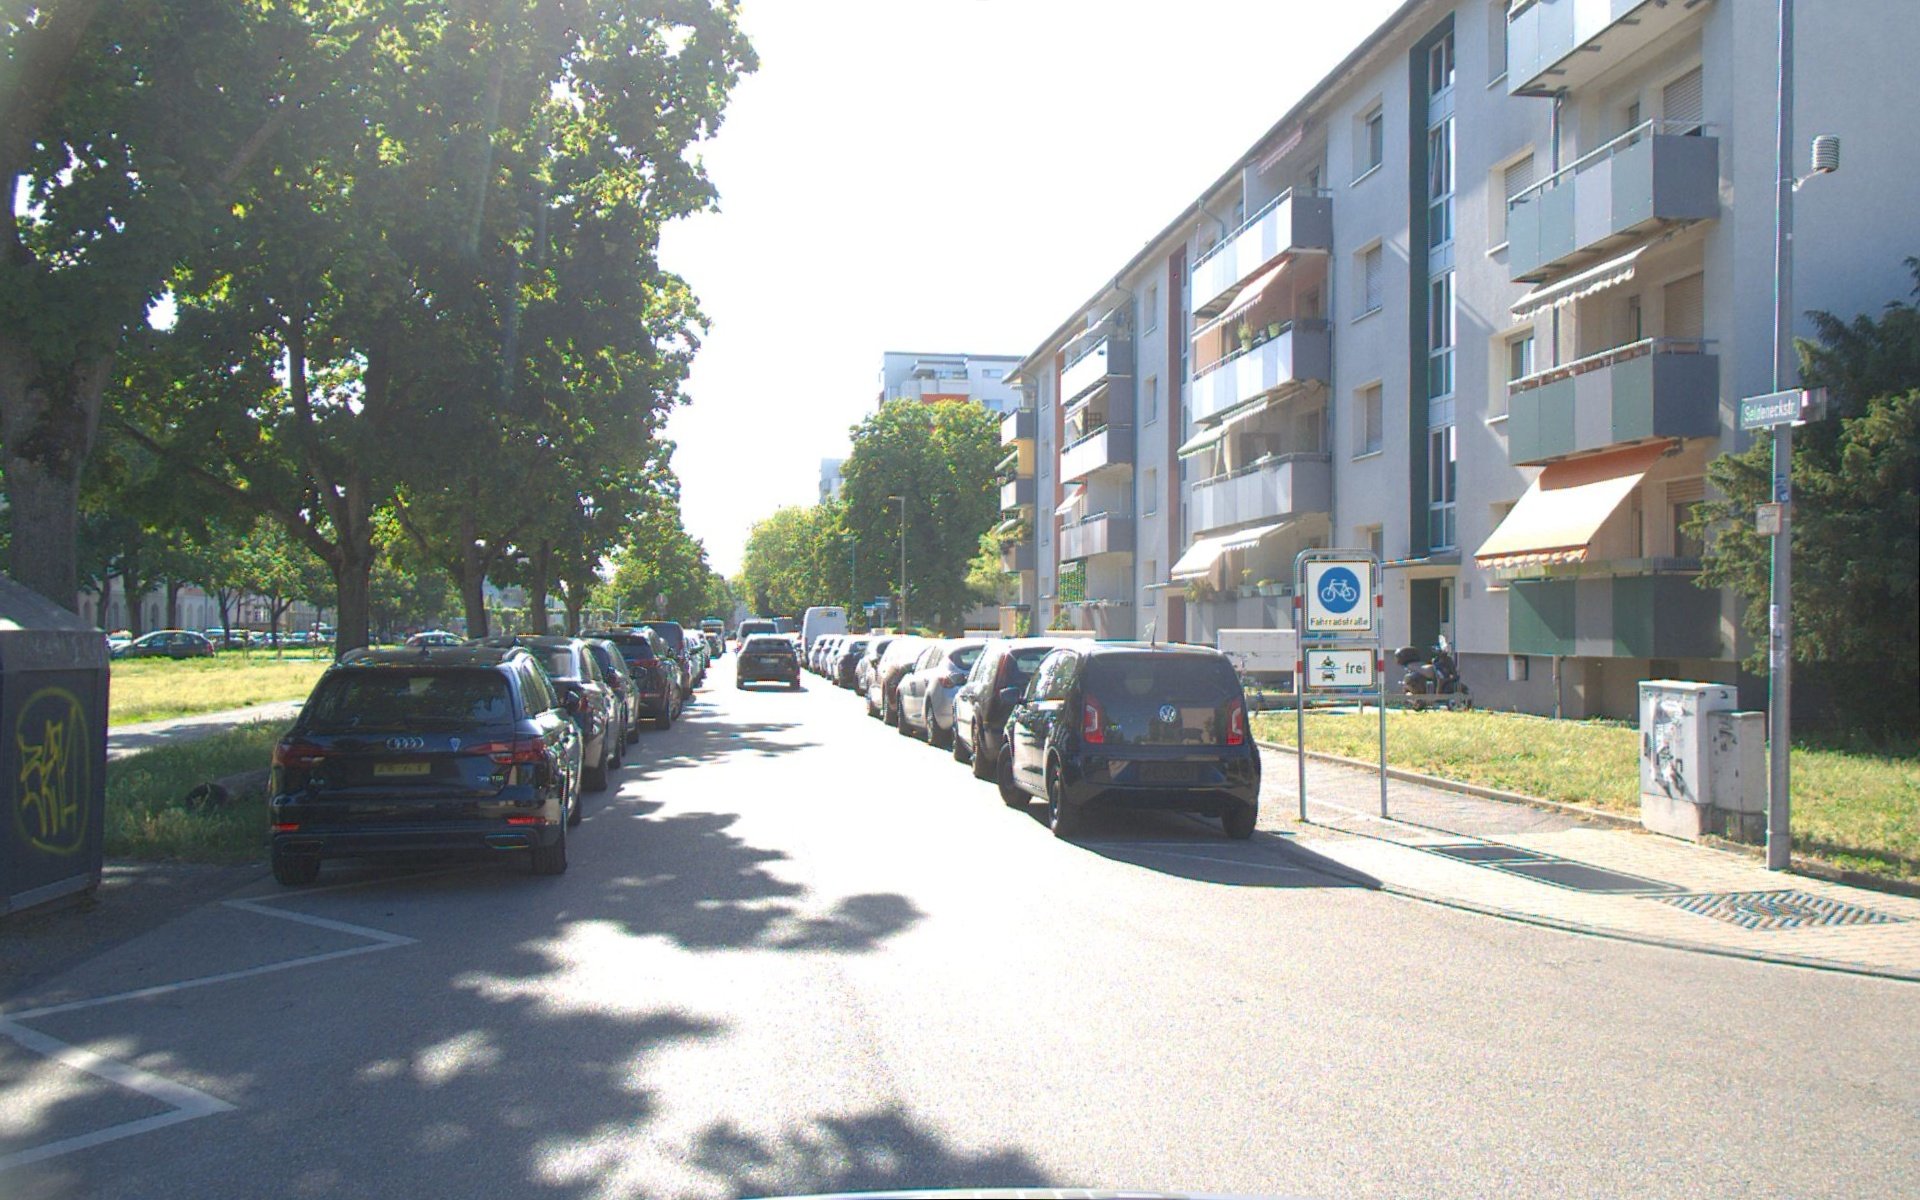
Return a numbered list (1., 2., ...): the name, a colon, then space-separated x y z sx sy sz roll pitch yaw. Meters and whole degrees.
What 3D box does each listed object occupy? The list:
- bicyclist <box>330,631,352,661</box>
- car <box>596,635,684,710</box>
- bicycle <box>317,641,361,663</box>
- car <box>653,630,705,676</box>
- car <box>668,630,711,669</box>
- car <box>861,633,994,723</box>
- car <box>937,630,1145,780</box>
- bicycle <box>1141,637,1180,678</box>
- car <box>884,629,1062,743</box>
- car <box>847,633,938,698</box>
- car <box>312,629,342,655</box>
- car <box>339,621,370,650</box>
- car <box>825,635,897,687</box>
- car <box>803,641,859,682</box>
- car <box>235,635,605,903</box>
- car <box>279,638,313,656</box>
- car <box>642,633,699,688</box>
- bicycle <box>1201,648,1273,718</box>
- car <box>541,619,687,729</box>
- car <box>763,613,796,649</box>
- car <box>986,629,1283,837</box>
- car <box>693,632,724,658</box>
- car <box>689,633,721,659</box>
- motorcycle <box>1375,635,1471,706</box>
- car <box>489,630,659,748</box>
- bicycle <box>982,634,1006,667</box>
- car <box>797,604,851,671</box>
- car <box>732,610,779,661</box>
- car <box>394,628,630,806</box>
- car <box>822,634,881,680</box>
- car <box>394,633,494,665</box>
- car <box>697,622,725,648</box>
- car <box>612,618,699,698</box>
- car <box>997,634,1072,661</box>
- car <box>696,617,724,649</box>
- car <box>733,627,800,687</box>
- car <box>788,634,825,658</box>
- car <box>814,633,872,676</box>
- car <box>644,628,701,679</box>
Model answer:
1. bicyclist: -30.289 2.258 80.957 0.868 1.388 0.616 0 -5 -35
2. car: -6.589 1.452 34.364 1.509 1.454 4.080 0 -1 -7
3. bicycle: -30.411 2.538 80.996 1.958 1.034 0.651 1 -2 -34
4. car: -10.765 1.993 63.545 1.785 1.638 4.730 -1 -1 -8
5. car: -12.425 2.243 76.017 1.723 1.676 4.280 -1 -1 -7
6. car: -0.686 1.358 30.326 1.809 1.498 5.054 0 -1 -9
7. car: 0.825 1.134 19.506 1.736 1.556 4.550 0 -1 -7
8. bicycle: 5.524 1.581 45.691 0.513 1.089 2.005 -2 -1 -9
9. car: 0.089 1.219 25.007 1.840 1.561 4.480 0 -1 -11
10. car: -1.729 1.591 41.195 1.716 1.525 3.850 0 -1 -11
11. car: -57.633 3.819 150.611 1.663 2.252 4.995 0 -1 -10
12. car: -59.629 3.496 162.891 1.881 2.792 5.610 0 -1 -10
13. car: -3.011 1.796 49.661 1.668 1.461 4.461 -1 -1 -9
14. car: -5.096 2.375 64.976 1.815 1.491 4.192 1 -1 -9
15. car: -3.549 0.993 11.775 1.802 1.478 4.956 0 -1 -10
16. car: -56.366 3.965 140.419 1.811 1.465 3.767 0 -1 -8
17. car: -8.576 1.750 49.095 1.557 1.519 3.677 -1 -1 -9
18. bicycle: 4.599 1.365 27.566 0.706 1.096 1.893 0 -1 -6
19. car: -5.778 1.196 28.165 1.987 1.654 4.749 -1 -1 -7
20. car: -14.163 2.431 129.519 2.124 2.736 5.401 0 -1 -11
21. car: 1.329 1.024 14.059 1.627 1.500 3.785 2 -1 -8
22. car: -15.566 2.818 102.357 1.743 1.521 3.868 -2 -2 -7
23. car: -15.062 2.740 97.871 1.715 1.450 3.910 -2 -2 -7
24. motorcycle: 7.871 1.185 28.197 0.573 1.171 2.027 0 -2 -17
25. car: -5.147 1.169 22.470 1.844 1.444 3.797 -1 -2 -7
26. bicycle: 1.299 1.936 62.858 0.585 1.197 2.009 1 -3 -9
27. car: -6.065 1.638 72.892 2.102 2.760 6.830 -1 -1 -7
28. car: -8.515 1.486 69.103 1.858 2.026 4.004 -1 -1 -7
29. car: -4.533 1.093 17.450 1.958 1.543 5.144 -1 -1 -10
30. car: -3.656 1.861 55.045 1.689 1.461 4.145 0 -1 -8
31. car: -24.999 2.345 80.182 4.293 1.434 1.899 1 0 -33
32. car: -19.281 2.732 128.245 2.059 1.977 4.119 0 -1 -8
33. car: -7.365 1.407 40.385 1.829 1.816 4.982 0 -2 -8
34. car: 4.077 2.594 90.566 3.818 1.454 1.653 0 -1 -12
35. car: -20.309 2.665 134.565 2.058 2.540 4.120 0 -1 -7
36. car: -5.420 1.576 46.454 1.745 1.558 3.994 1 -1 -7
37. car: -9.541 2.830 102.438 2.085 1.361 4.498 -2 -1 -7
38. car: -4.309 1.955 60.373 1.842 1.501 4.132 0 -1 -8
39. car: -9.264 1.704 53.480 1.723 1.518 4.657 -1 -1 -9
